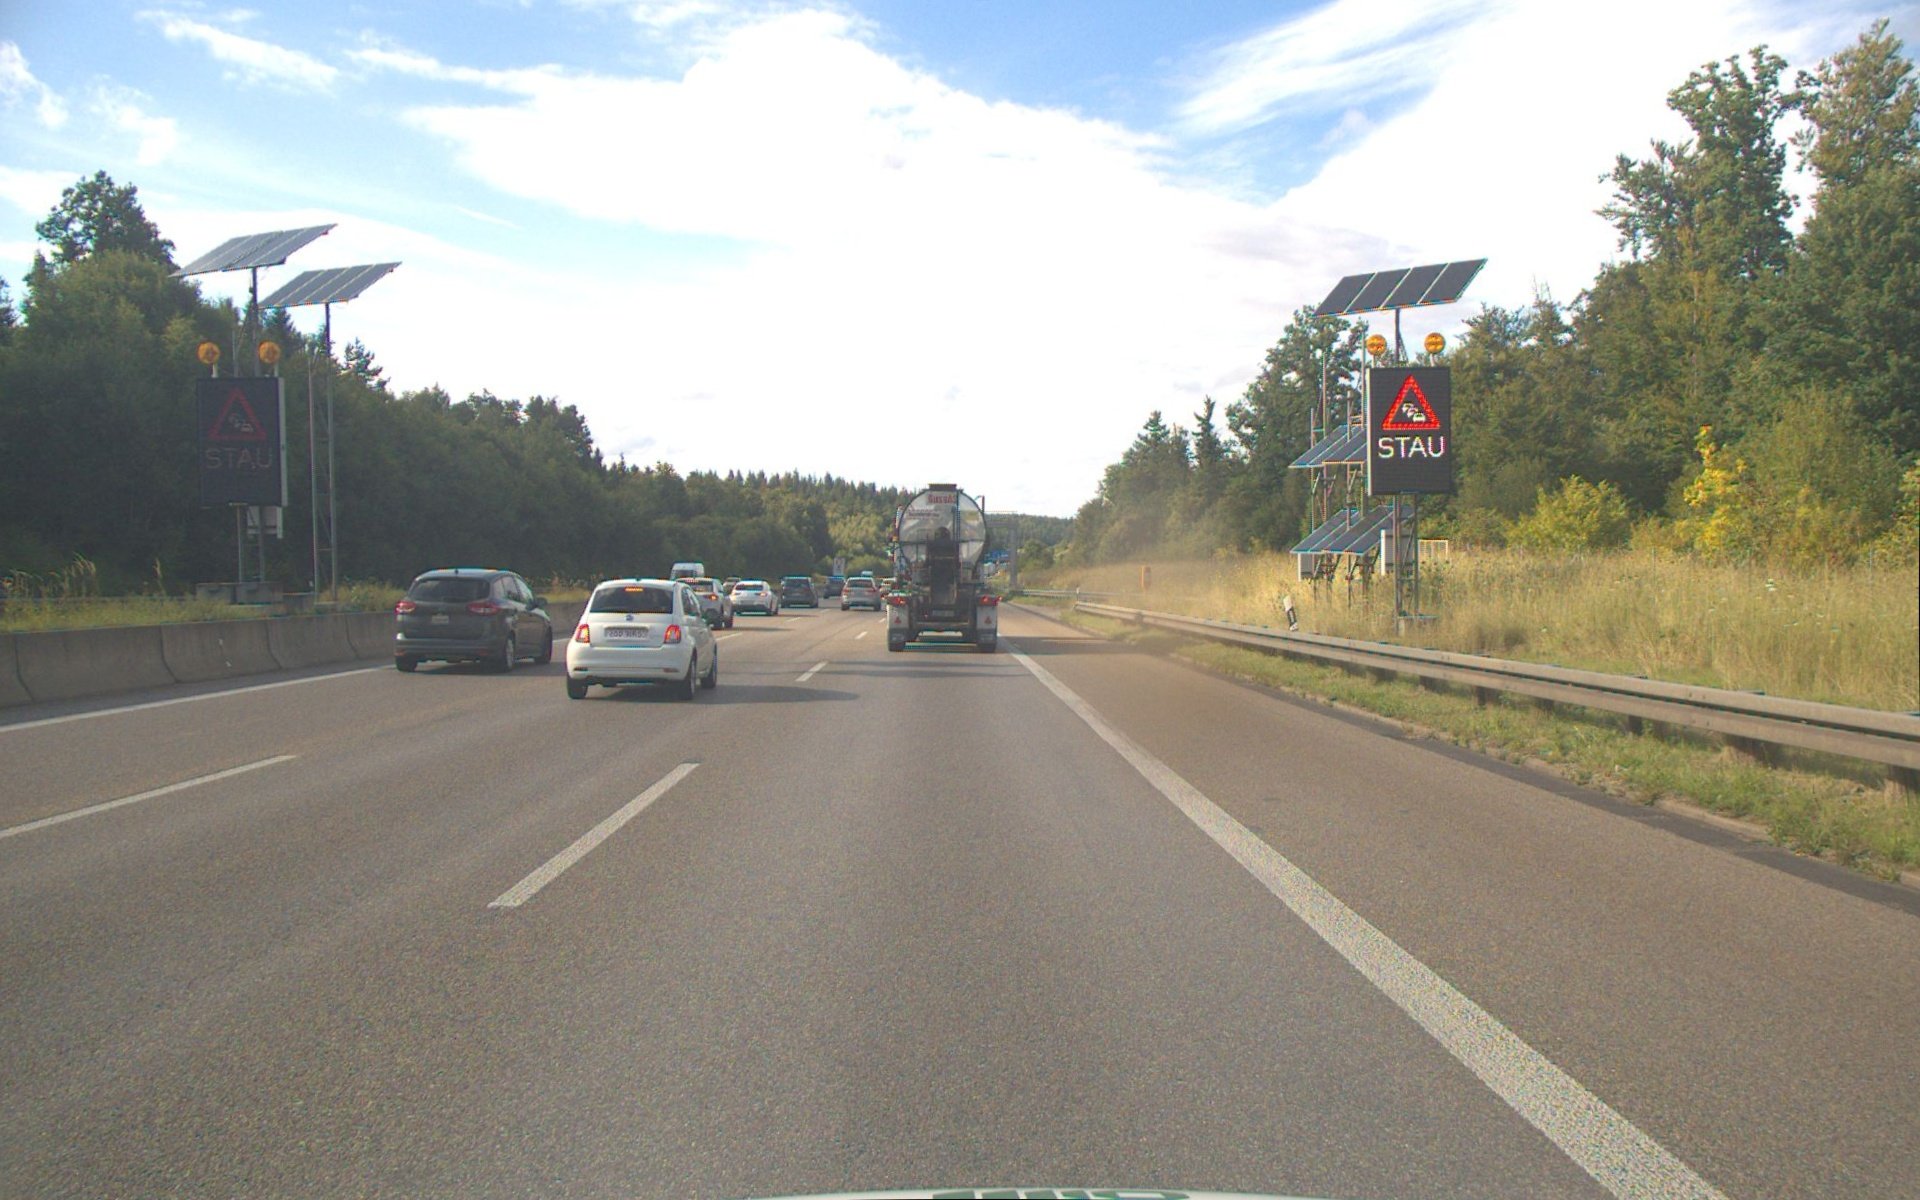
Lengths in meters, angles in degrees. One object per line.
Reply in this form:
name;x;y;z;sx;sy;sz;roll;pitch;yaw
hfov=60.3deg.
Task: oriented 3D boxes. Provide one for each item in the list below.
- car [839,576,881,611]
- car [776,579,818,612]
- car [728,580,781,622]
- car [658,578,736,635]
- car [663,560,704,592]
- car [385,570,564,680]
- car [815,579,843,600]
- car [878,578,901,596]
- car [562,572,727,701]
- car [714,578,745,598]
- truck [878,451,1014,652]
car;-5.004;-0.347;83.213;1.903;1.683;4.206;1;1;-1
car;-8.760;-0.261;88.979;1.903;1.613;4.206;1;1;-1
car;-8.623;0.017;69.637;1.770;1.613;4.206;1;1;-1
car;-8.018;0.165;50.778;1.770;1.613;4.206;1;1;-1
car;-20.958;-1.792;125.637;2.066;2.353;6.723;1;1;-1
car;-7.877;0.340;27.222;1.770;1.613;4.206;1;1;-1
car;-10.094;-0.832;127.353;1.903;1.482;4.206;1;1;-1
car;-6.117;-1.178;143.895;1.903;1.482;4.206;1;1;-1
car;-4.138;0.439;22.163;1.585;1.571;3.519;1;0;-1
car;-24.871;-1.295;178.486;2.526;2.176;5.965;0;1;-1
truck;-0.344;-1.094;40.718;2.853;4.230;11.269;0;1;0
